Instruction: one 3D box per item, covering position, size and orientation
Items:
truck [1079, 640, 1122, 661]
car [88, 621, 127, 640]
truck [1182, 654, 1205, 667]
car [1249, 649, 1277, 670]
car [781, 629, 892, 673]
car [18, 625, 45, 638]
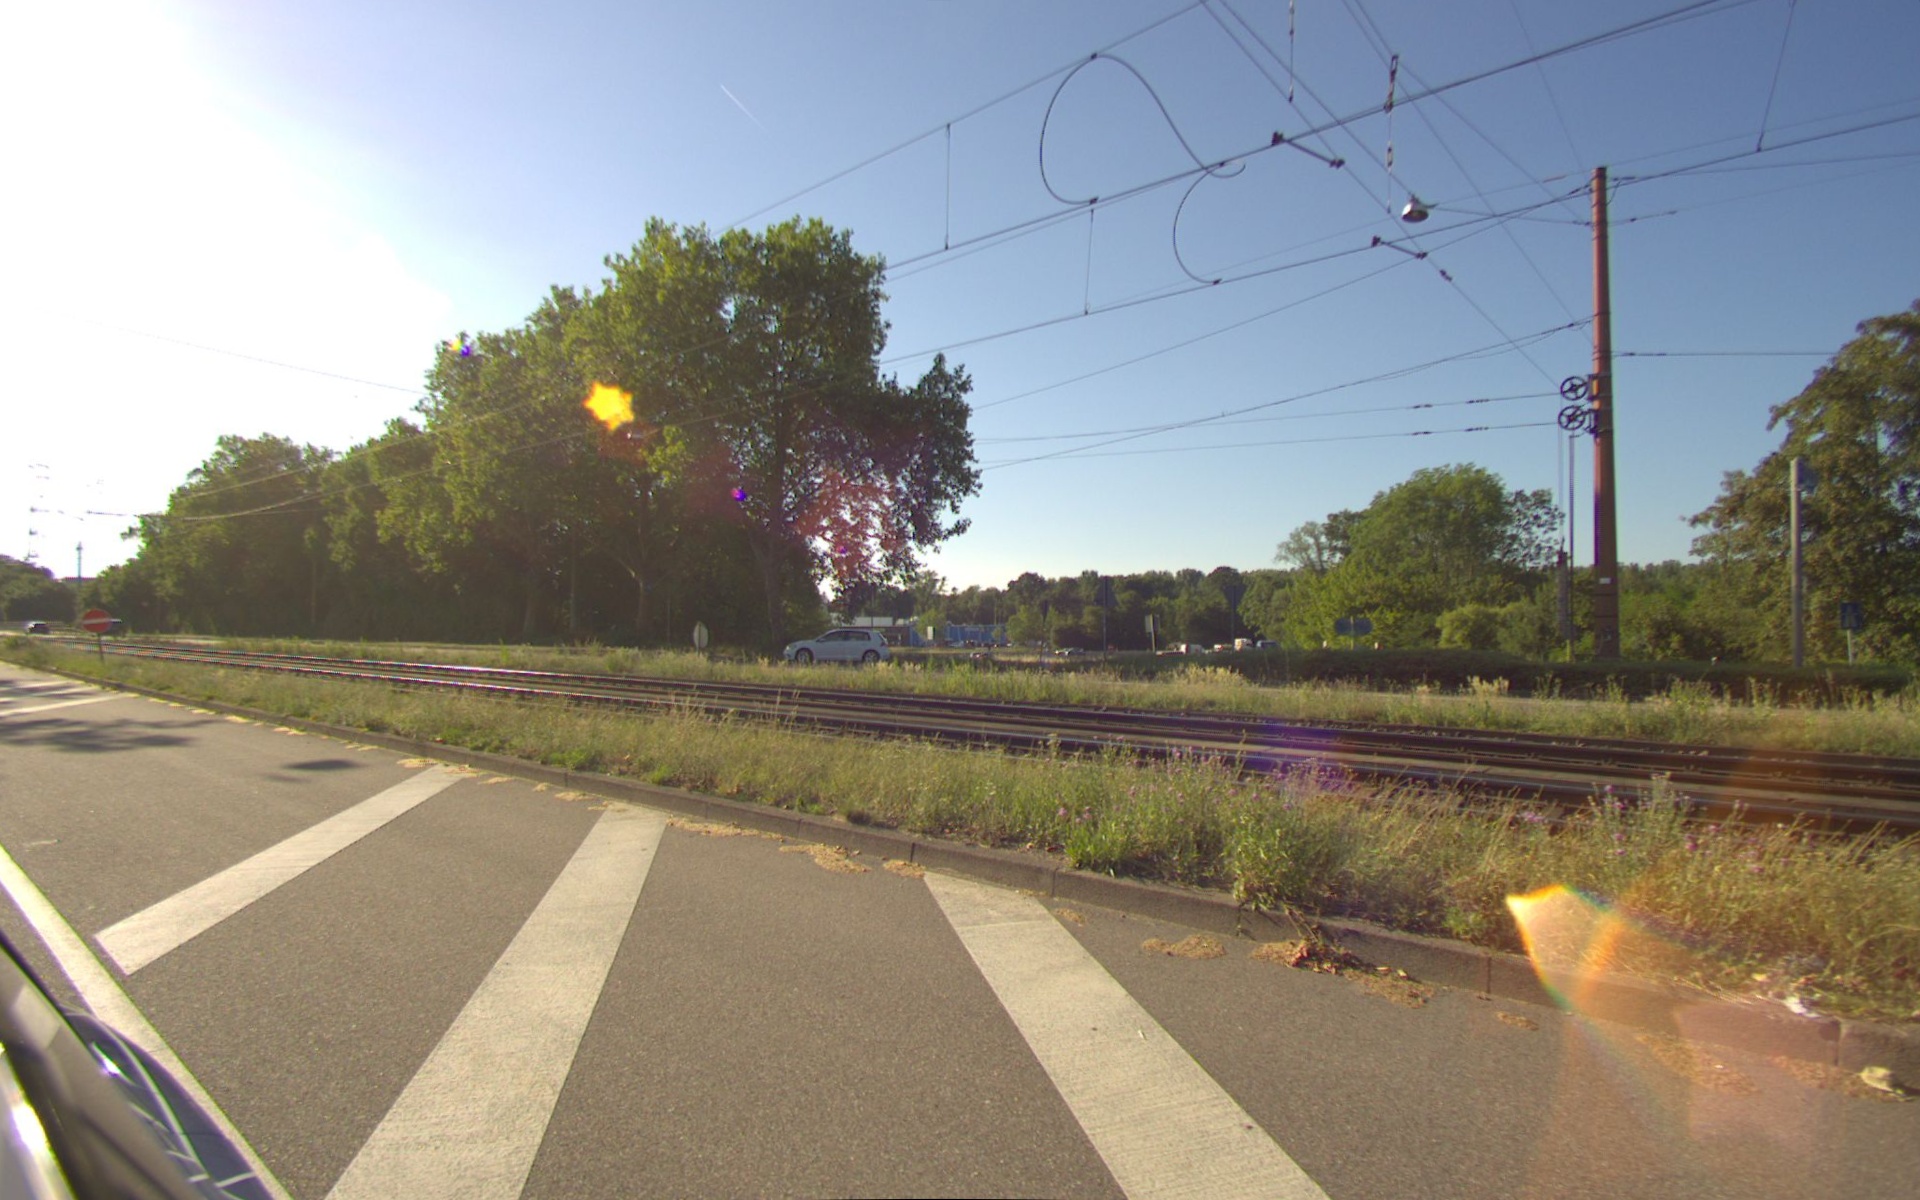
[{"bbox_3d":[18.052,6.482,130.008,4.944,2.540,2.072,-1,0,-20],"label":"truck"},{"bbox_3d":[-78.869,2.785,93.611,4.936,1.707,1.879,-1,-3,39],"label":"car"},{"bbox_3d":[30.212,7.765,131.037,1.634,1.537,4.129,3,-3,-4],"label":"truck"},{"bbox_3d":[23.998,4.711,80.234,1.640,1.537,4.113,3,-3,10],"label":"car"},{"bbox_3d":[-4.891,1.996,39.990,4.205,1.537,1.661,2,-1,-8],"label":"car"},{"bbox_3d":[-108.229,3.710,117.987,4.343,1.479,1.693,-2,-4,40],"label":"car"}]
